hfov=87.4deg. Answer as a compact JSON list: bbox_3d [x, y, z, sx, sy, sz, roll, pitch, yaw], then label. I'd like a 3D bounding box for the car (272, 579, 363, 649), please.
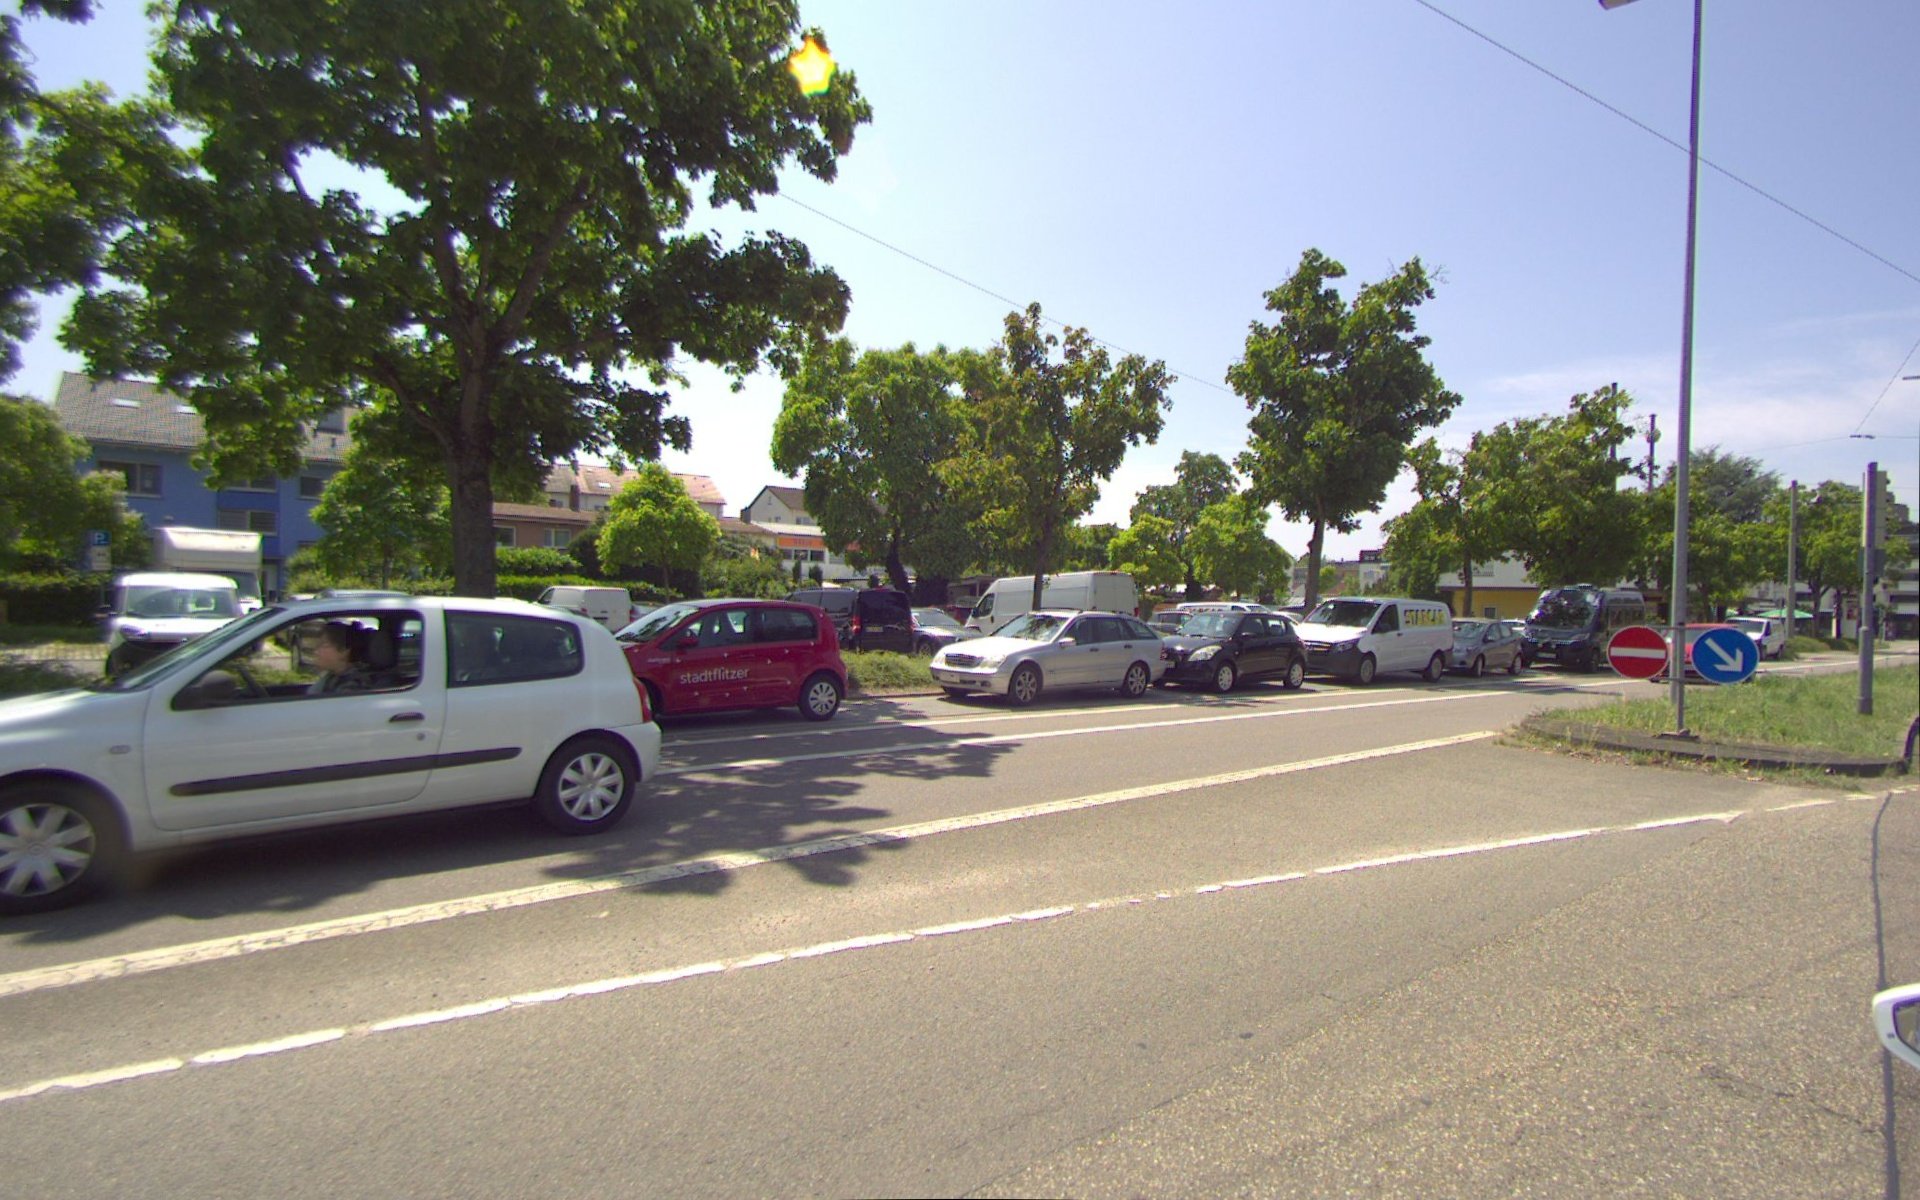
[{"bbox_3d":[-18.695,0.357,29.159,1.634,1.845,4.091,1,1,-41],"label":"car"}]

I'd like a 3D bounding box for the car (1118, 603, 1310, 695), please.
[{"bbox_3d":[4.976,0.901,19.459,3.752,1.504,1.601,2,3,-39],"label":"car"}]

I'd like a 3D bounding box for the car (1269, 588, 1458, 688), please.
[{"bbox_3d":[9.347,0.831,23.089,4.764,1.963,1.847,2,3,-39],"label":"car"}]

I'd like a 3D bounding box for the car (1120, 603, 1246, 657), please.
[{"bbox_3d":[8.022,1.038,36.361,1.843,1.789,4.171,1,0,-42],"label":"car"}]

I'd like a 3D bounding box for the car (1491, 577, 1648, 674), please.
[{"bbox_3d":[19.567,0.777,32.102,6.125,2.692,2.377,1,3,-41],"label":"car"}]

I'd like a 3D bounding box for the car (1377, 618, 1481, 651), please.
[{"bbox_3d":[22.697,1.653,48.707,1.843,1.430,4.170,1,0,-43],"label":"car"}]

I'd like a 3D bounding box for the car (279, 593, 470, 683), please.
[{"bbox_3d":[-10.783,0.614,18.367,2.067,1.422,4.154,1,0,-44],"label":"car"}]

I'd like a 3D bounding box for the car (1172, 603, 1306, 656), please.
[{"bbox_3d":[10.486,1.061,38.030,1.783,1.837,4.675,1,0,-42],"label":"car"}]

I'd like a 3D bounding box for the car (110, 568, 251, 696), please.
[{"bbox_3d":[-13.061,0.466,16.801,1.659,1.860,4.231,1,0,-39],"label":"car"}]

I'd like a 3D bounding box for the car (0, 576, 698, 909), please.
[{"bbox_3d":[-3.600,0.651,5.684,3.782,1.394,1.634,2,-3,-41],"label":"car"}]

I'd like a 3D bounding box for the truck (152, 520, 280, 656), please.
[{"bbox_3d":[-20.434,-0.352,27.421,2.135,3.271,6.913,1,1,-42],"label":"truck"}]

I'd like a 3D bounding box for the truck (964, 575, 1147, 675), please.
[{"bbox_3d":[2.820,0.695,30.986,2.412,2.796,5.532,1,0,-39],"label":"truck"}]

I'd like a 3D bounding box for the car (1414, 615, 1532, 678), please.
[{"bbox_3d":[13.726,1.208,26.772,3.809,1.459,1.393,2,3,-41],"label":"car"}]

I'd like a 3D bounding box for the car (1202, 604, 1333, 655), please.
[{"bbox_3d":[11.994,1.123,39.423,1.783,1.837,4.675,1,0,-42],"label":"car"}]

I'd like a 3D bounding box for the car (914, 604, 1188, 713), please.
[{"bbox_3d":[1.627,0.878,16.506,4.736,1.446,1.703,1,3,-42],"label":"car"}]

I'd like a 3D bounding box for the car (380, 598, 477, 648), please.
[{"bbox_3d":[-16.672,0.689,31.413,1.803,1.351,4.091,1,1,-41],"label":"car"}]

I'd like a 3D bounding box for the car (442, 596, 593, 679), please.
[{"bbox_3d":[-9.292,0.704,20.928,1.915,1.528,4.090,1,0,-38],"label":"car"}]

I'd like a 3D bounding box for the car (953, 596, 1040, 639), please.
[{"bbox_3d":[1.625,0.782,46.450,1.763,1.845,4.094,1,1,-39],"label":"car"}]

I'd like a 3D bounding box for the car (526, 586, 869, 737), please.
[{"bbox_3d":[-3.114,0.666,12.236,3.695,1.566,1.658,1,0,-39],"label":"car"}]

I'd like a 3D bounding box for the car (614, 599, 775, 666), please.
[{"bbox_3d":[-6.856,0.774,25.621,2.043,1.508,4.718,1,0,-42],"label":"car"}]

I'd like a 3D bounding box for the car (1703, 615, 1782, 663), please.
[{"bbox_3d":[36.498,1.778,46.813,5.124,1.992,1.859,1,3,-41],"label":"car"}]

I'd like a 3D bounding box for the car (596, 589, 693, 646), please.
[{"bbox_3d":[-11.142,0.572,35.305,1.726,1.845,4.091,1,1,-41],"label":"car"}]

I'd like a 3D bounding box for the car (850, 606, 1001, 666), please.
[{"bbox_3d":[-0.998,0.931,27.116,1.843,1.430,4.171,1,0,-42],"label":"car"}]

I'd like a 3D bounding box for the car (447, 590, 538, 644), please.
[{"bbox_3d":[-15.291,0.532,32.743,1.719,1.597,3.713,1,1,-41],"label":"car"}]

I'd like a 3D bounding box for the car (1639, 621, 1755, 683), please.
[{"bbox_3d":[18.434,1.252,25.076,3.578,1.428,1.642,2,-1,-42],"label":"car"}]

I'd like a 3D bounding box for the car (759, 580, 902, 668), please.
[{"bbox_3d":[-3.348,0.554,25.349,1.838,2.021,4.181,1,0,-35],"label":"car"}]

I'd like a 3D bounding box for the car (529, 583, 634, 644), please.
[{"bbox_3d":[-12.710,0.428,33.573,1.956,1.845,4.091,2,0,-41],"label":"car"}]
